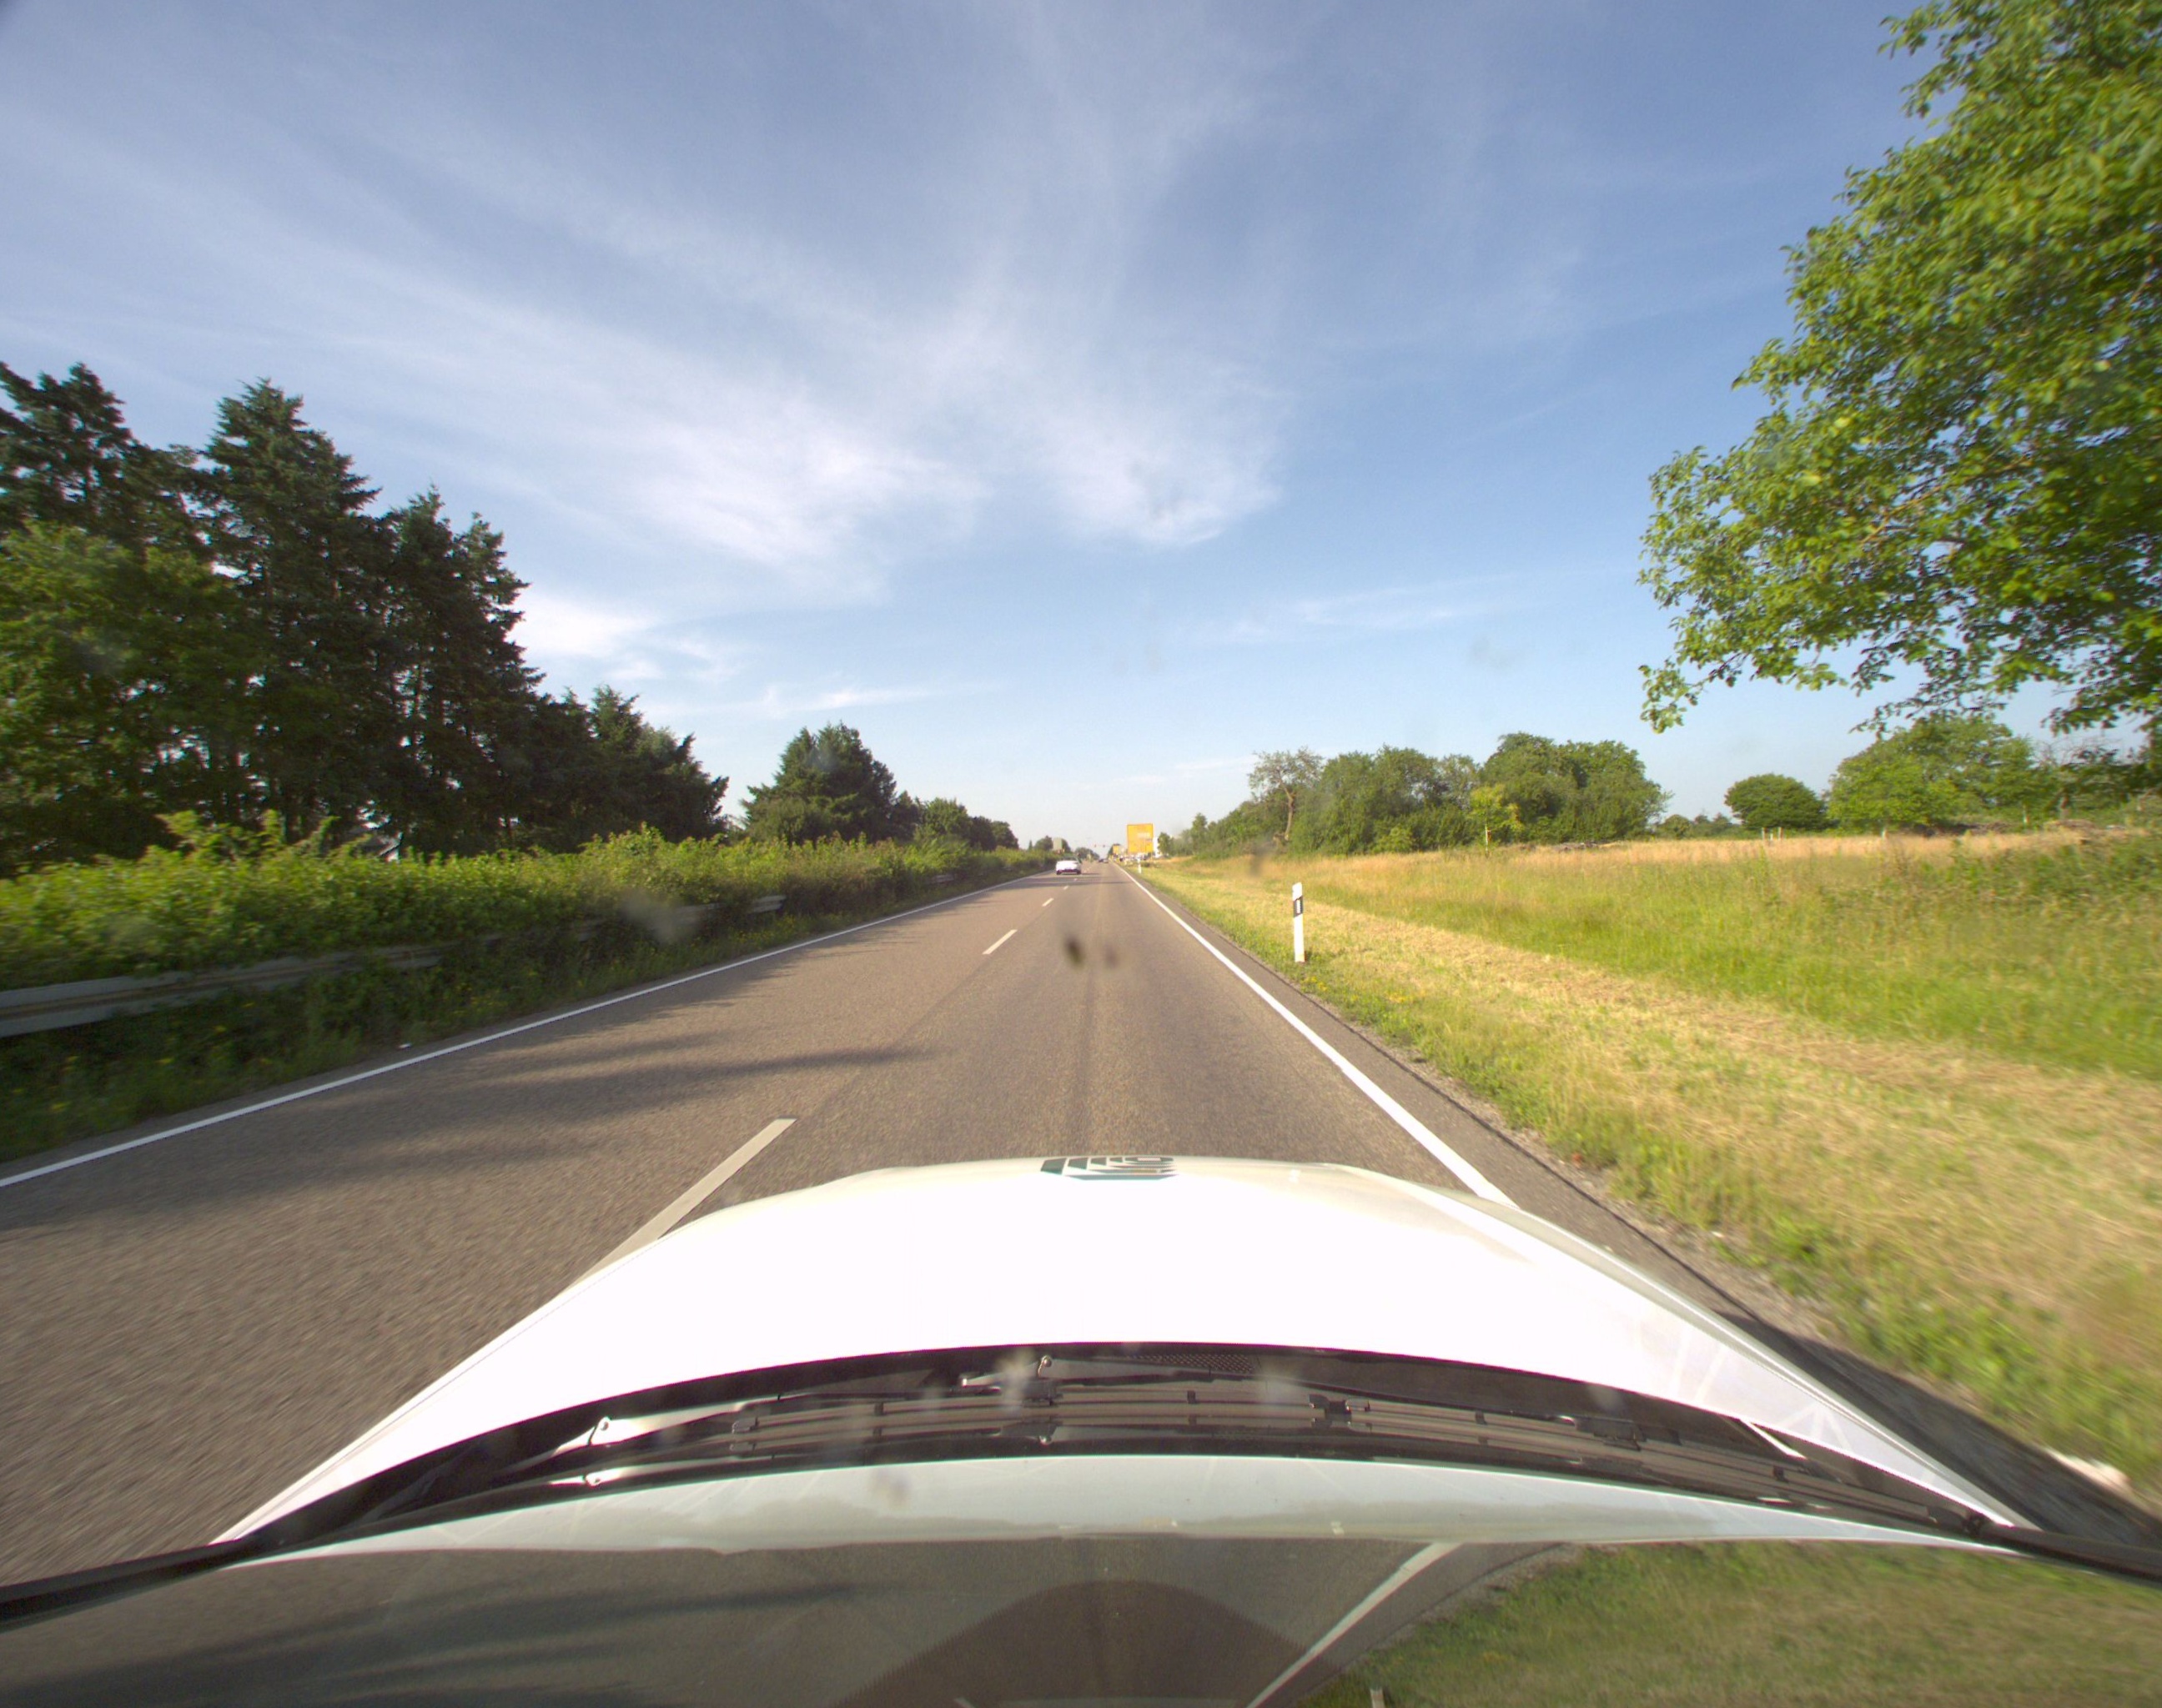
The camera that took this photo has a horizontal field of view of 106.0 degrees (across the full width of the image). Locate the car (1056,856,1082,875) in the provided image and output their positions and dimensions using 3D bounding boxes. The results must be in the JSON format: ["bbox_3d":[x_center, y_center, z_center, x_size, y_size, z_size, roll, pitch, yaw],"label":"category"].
[{"bbox_3d":[-0.934,0.910,63.873,1.903,1.422,4.001,-1,0,1],"label":"car"}]
